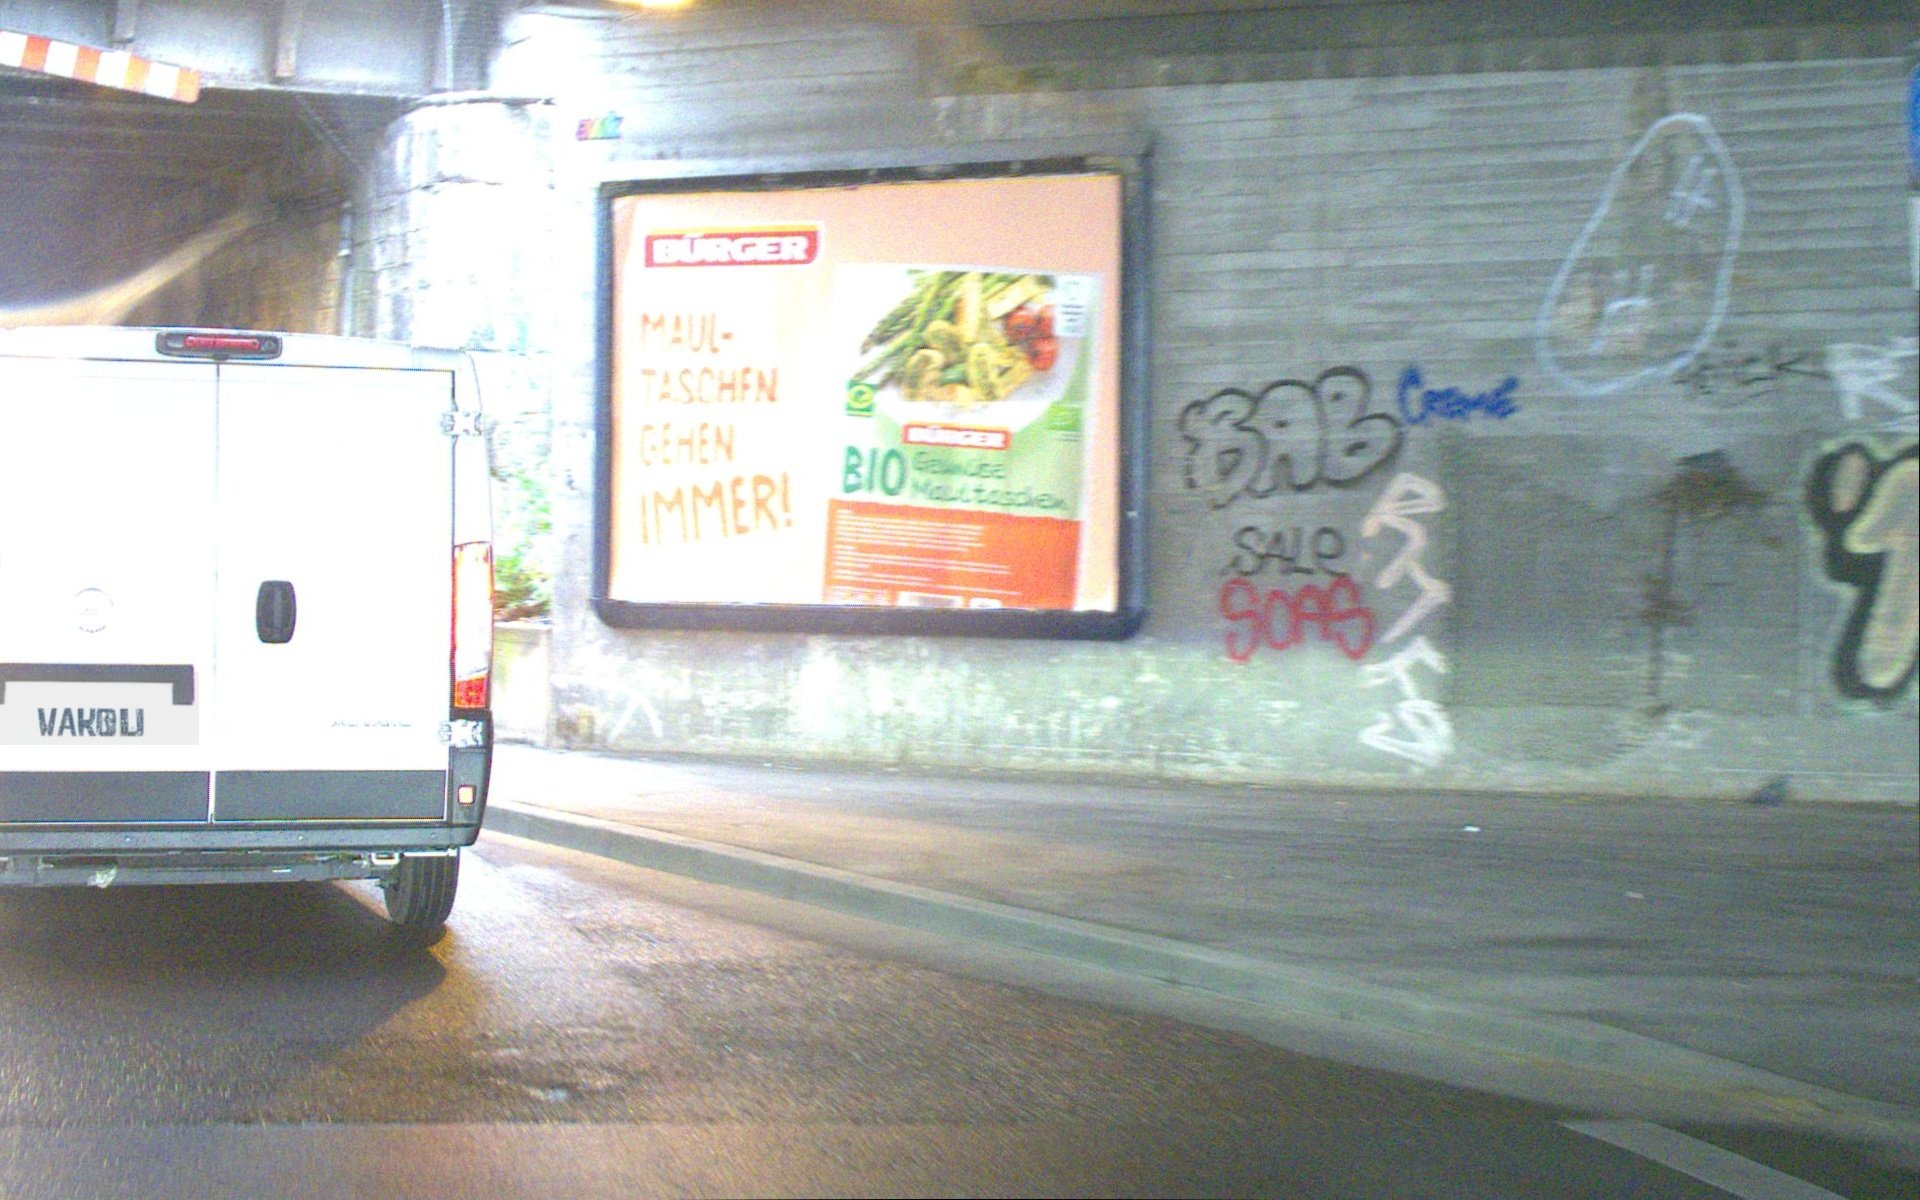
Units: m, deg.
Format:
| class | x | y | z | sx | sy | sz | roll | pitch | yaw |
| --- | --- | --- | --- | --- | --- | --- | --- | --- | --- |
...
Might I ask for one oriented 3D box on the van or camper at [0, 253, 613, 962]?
| class | x | y | z | sx | sy | sz | roll | pitch | yaw |
| --- | --- | --- | --- | --- | --- | --- | --- | --- | --- |
| van or camper | -3.301 | 0.028 | 14.250 | 2.697 | 2.408 | 4.904 | 0 | 0 | -18 |
